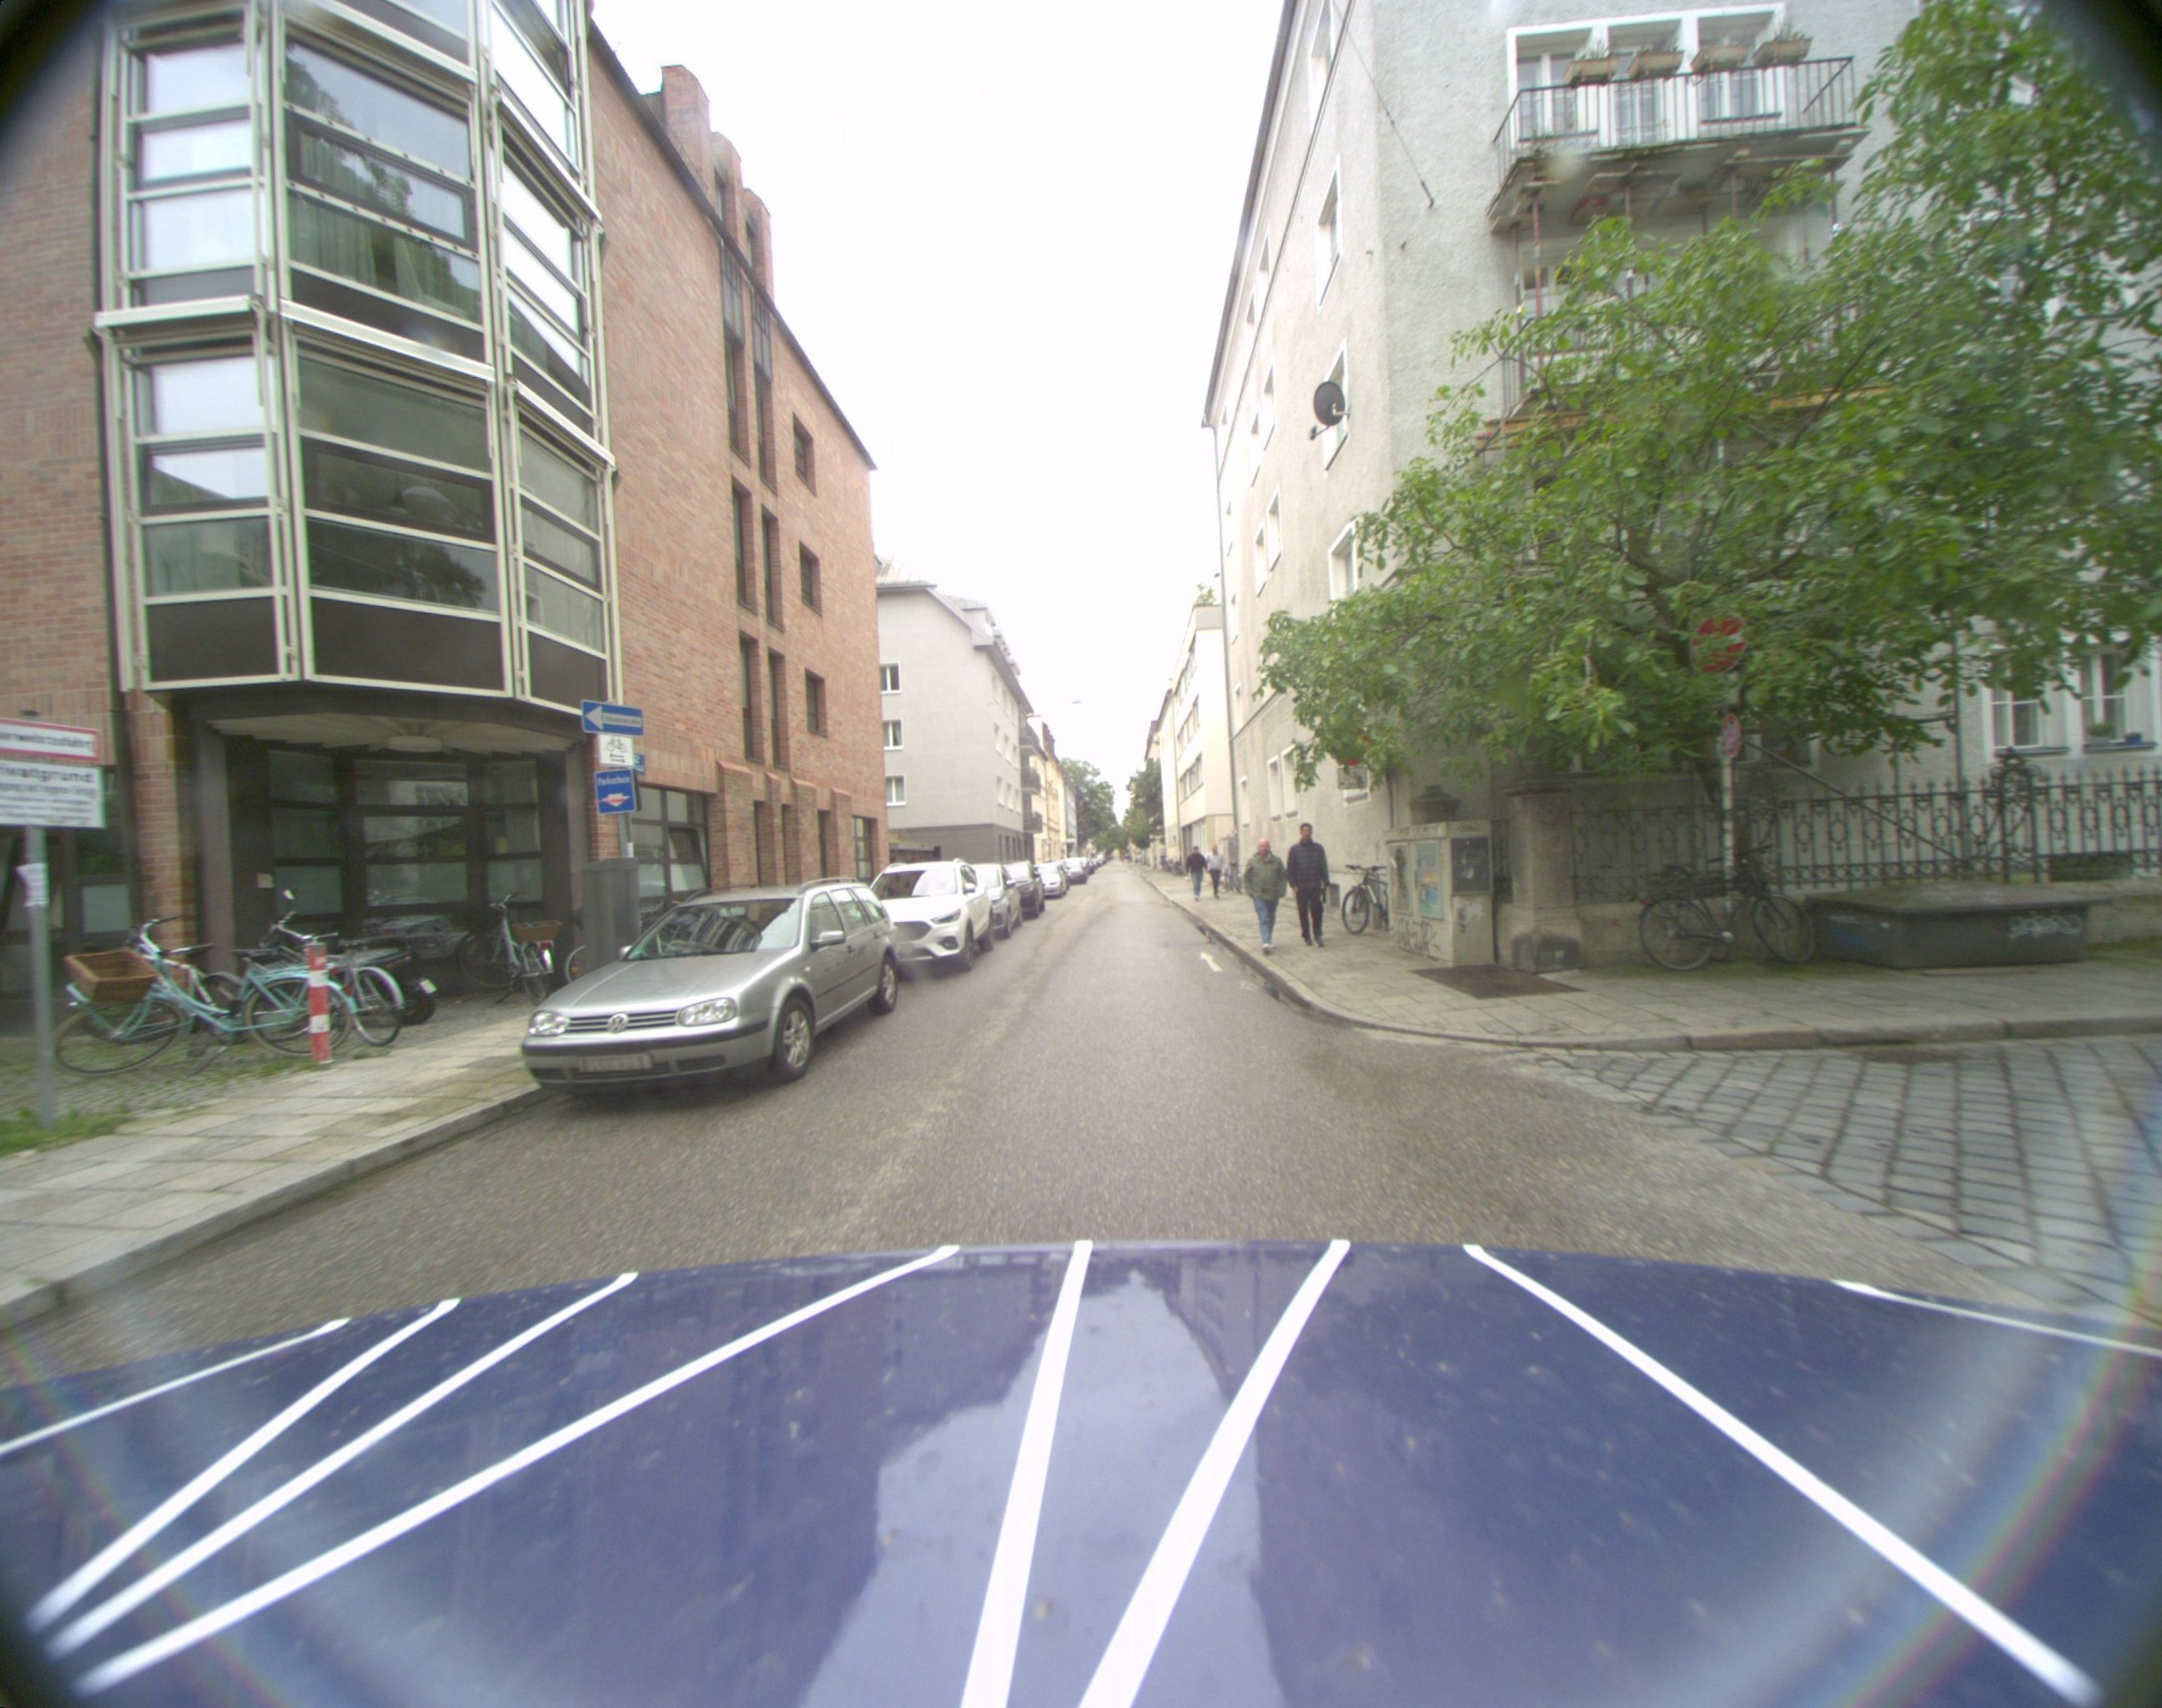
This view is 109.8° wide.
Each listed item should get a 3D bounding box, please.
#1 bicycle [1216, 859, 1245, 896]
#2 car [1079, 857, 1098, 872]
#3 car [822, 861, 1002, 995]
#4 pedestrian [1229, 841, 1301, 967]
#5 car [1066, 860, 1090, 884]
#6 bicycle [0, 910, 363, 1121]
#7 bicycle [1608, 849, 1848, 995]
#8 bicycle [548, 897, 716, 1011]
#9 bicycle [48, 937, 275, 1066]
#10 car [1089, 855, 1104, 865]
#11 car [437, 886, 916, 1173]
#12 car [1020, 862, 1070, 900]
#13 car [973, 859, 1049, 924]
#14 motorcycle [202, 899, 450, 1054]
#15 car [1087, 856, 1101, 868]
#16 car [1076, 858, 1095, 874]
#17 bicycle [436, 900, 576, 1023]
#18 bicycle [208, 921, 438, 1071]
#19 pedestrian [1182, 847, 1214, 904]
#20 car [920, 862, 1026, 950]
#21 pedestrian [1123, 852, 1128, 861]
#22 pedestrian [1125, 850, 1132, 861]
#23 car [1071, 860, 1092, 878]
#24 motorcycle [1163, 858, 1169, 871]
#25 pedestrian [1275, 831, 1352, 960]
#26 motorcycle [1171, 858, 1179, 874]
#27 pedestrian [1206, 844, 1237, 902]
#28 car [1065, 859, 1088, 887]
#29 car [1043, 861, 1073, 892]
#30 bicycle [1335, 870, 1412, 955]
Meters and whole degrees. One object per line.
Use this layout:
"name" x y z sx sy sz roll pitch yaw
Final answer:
"bicycle" 4.997 0.774 25.411 0.450 1.187 1.499 -4 0 -7
"car" 0.741 0.957 71.644 1.525 1.259 3.211 -4 0 3
"car" -2.462 0.999 12.253 1.725 1.606 4.455 -4 0 1
"pedestrian" 2.599 0.683 10.832 0.691 1.668 0.859 -5 0 1
"car" -0.168 1.065 46.133 1.190 1.312 2.780 -4 0 3
"bicycle" -6.933 1.178 5.909 1.807 1.315 0.586 -3 2 -23
"bicycle" 6.056 0.622 7.154 1.811 1.253 0.432 -3 1 2
"bicycle" -5.735 1.227 9.847 0.741 1.210 1.782 -2 1 17
"bicycle" -8.344 1.333 6.908 1.752 1.066 0.443 -2 1 9
"car" 2.244 0.907 110.352 1.998 1.259 4.001 -4 0 3
"car" -2.884 1.137 6.698 1.725 1.426 4.359 -4 0 1
"car" -1.436 1.083 31.811 1.619 1.368 3.818 -4 0 3
"car" -1.924 1.010 21.946 1.619 1.570 4.052 -4 0 1
"motorcycle" -7.250 1.151 7.348 1.765 1.376 0.552 -1 0 -2
"car" 1.626 0.932 92.798 1.556 1.280 3.538 -4 0 3
"car" 0.413 1.016 66.152 1.351 1.259 3.037 -4 0 3
"bicycle" -6.621 1.177 8.722 1.872 1.222 0.594 -1 2 32
"bicycle" -6.577 1.204 6.607 1.752 1.180 0.443 0 1 9
"pedestrian" 3.692 0.662 23.998 0.721 1.718 0.841 -7 0 3
"car" -2.240 1.034 16.679 1.619 1.548 3.808 -4 0 1
"pedestrian" 8.413 0.468 144.462 0.696 1.833 0.692 -3 1 21
"pedestrian" 9.099 0.351 145.253 0.861 2.002 0.787 -3 1 21
"car" 0.059 1.106 56.935 1.351 1.259 3.037 -4 0 3
"motorcycle" 6.532 0.817 58.411 0.324 0.968 1.961 -4 0 3
"pedestrian" 3.350 0.580 10.993 0.691 1.752 0.741 -5 0 -7
"motorcycle" 6.030 0.781 48.826 0.324 0.968 1.961 -4 0 3
"pedestrian" 4.416 0.583 23.946 0.695 1.718 0.841 -7 0 3
"car" -0.244 1.025 42.245 1.043 1.429 2.251 -4 0 3
"car" -1.075 1.087 37.105 1.154 1.367 2.686 -4 0 3
"bicycle" 4.251 0.815 11.168 0.431 1.088 1.703 -4 0 1
